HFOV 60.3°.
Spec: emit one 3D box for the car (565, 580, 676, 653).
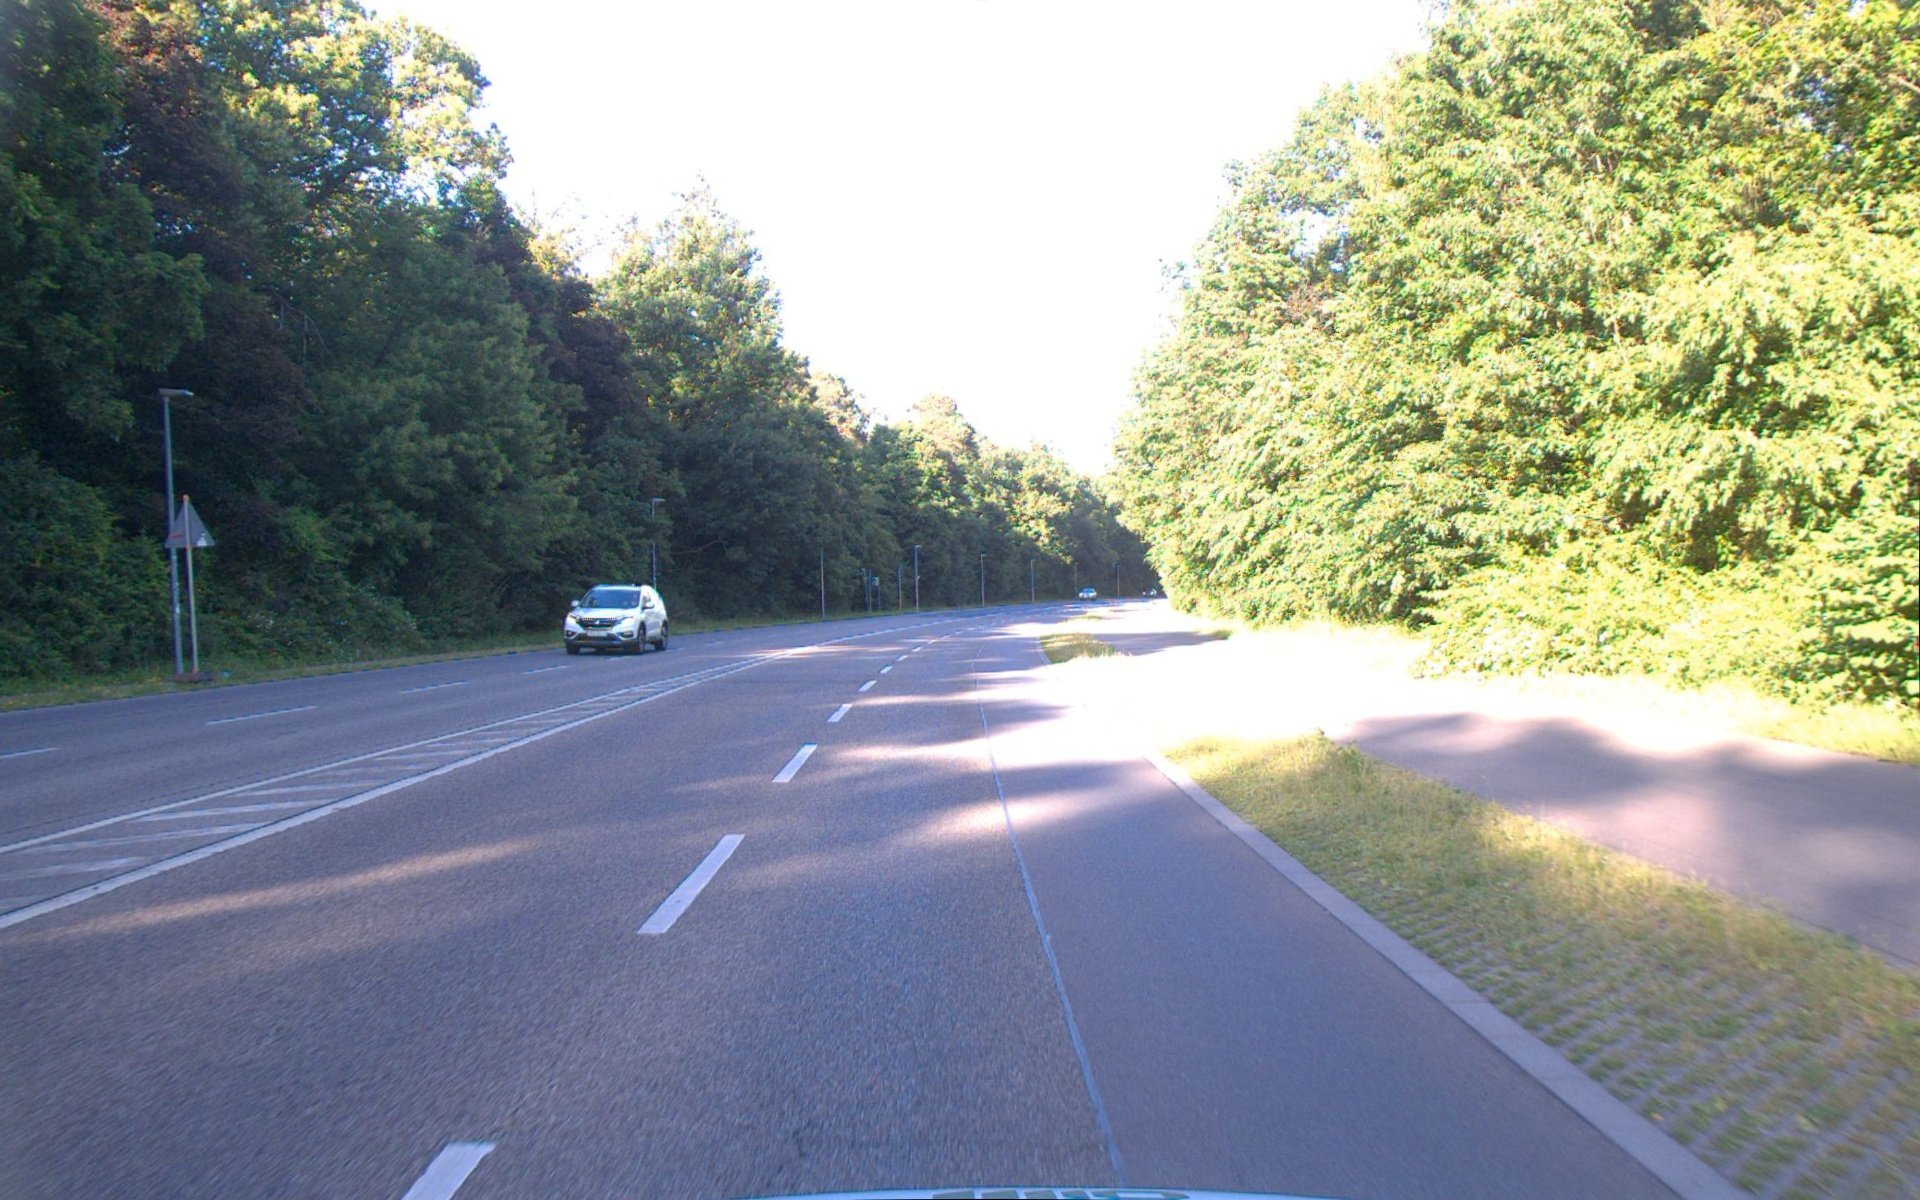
[{"bbox_3d":[-8.389,0.382,41.262,1.869,1.693,4.733,0,0,-1],"label":"car"}]
